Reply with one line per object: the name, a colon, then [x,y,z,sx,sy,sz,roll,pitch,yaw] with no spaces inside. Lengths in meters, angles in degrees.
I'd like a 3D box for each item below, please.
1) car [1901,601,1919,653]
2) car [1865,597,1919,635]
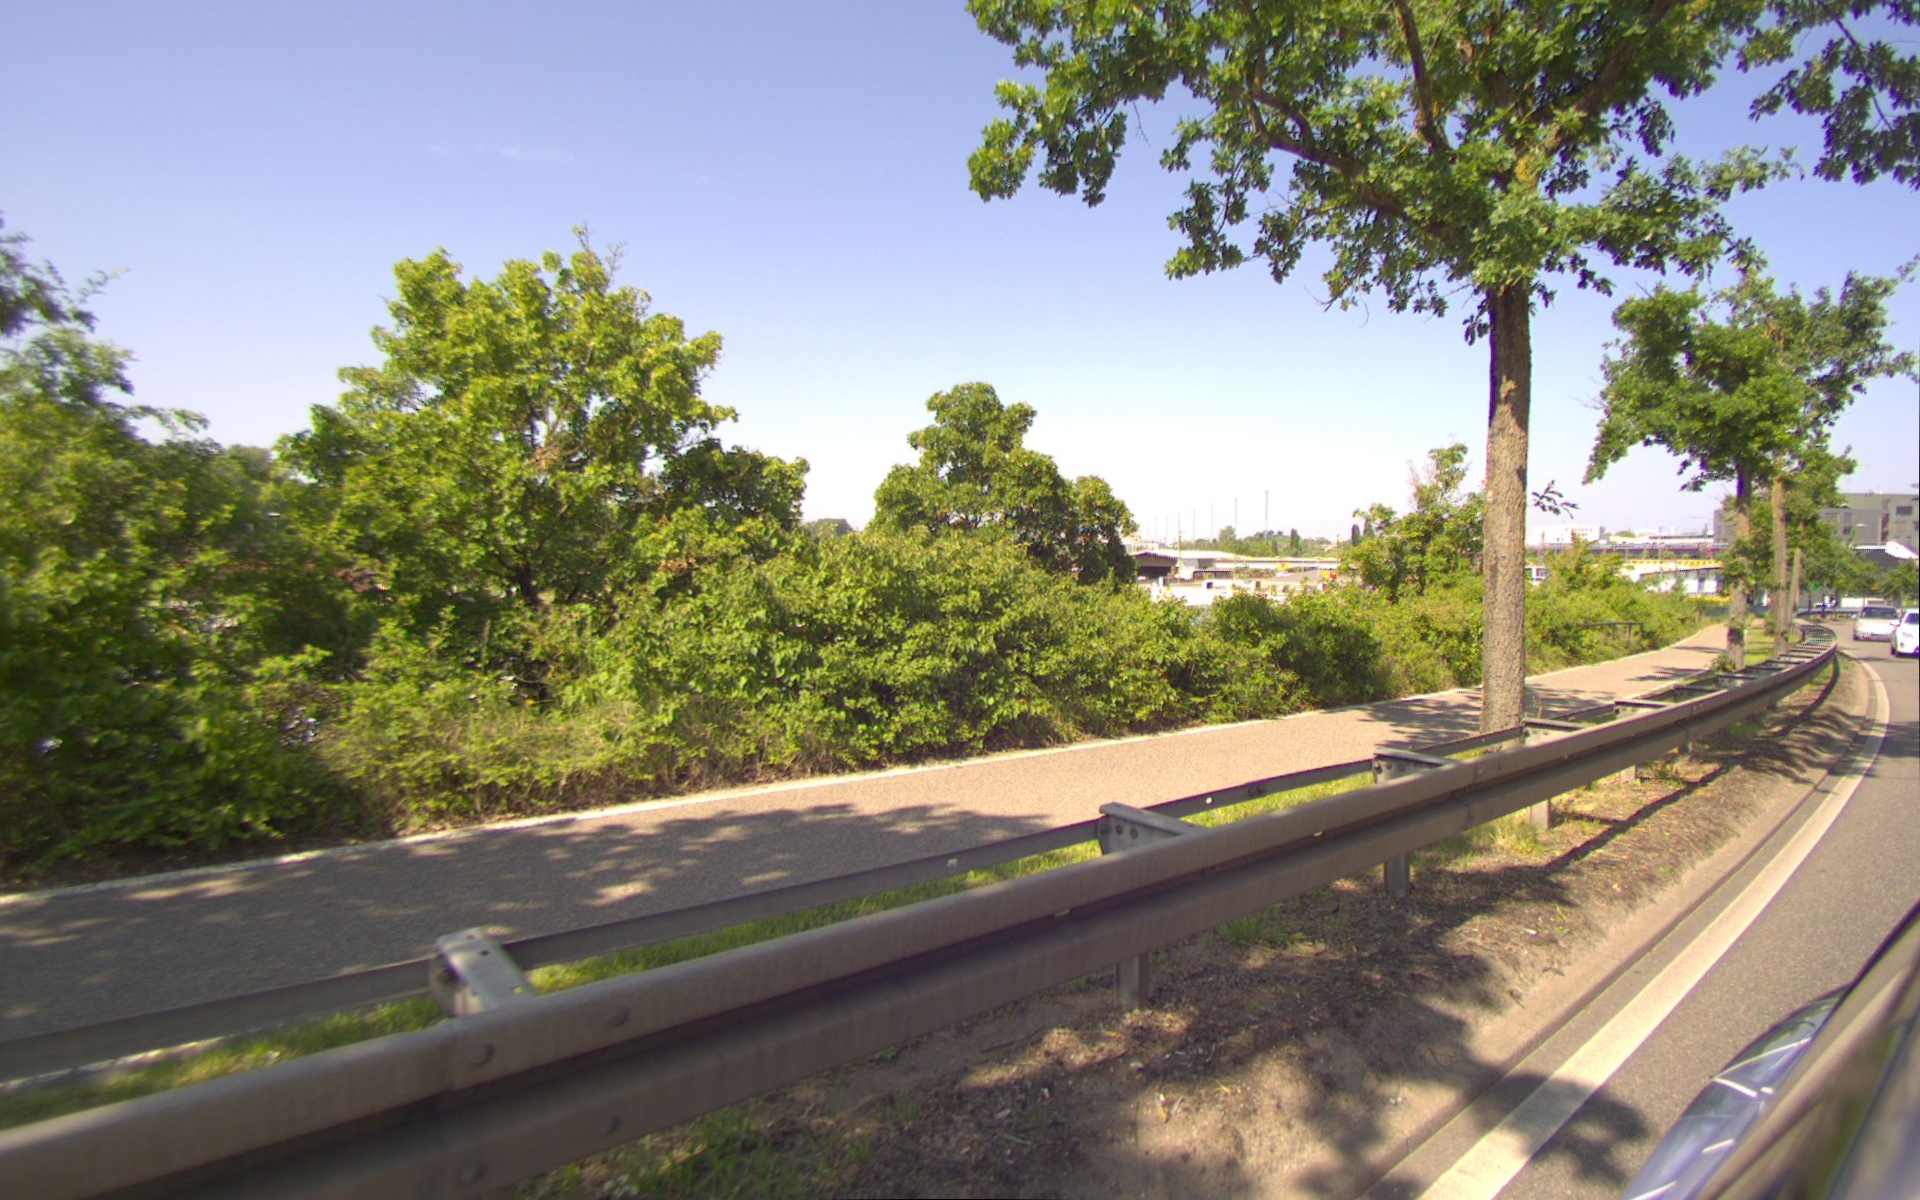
car: [29.925,0.793,30.743,1.840,1.507,4.089,1,0,41]
car: [41.876,0.701,45.256,1.991,1.605,3.942,1,0,40]
